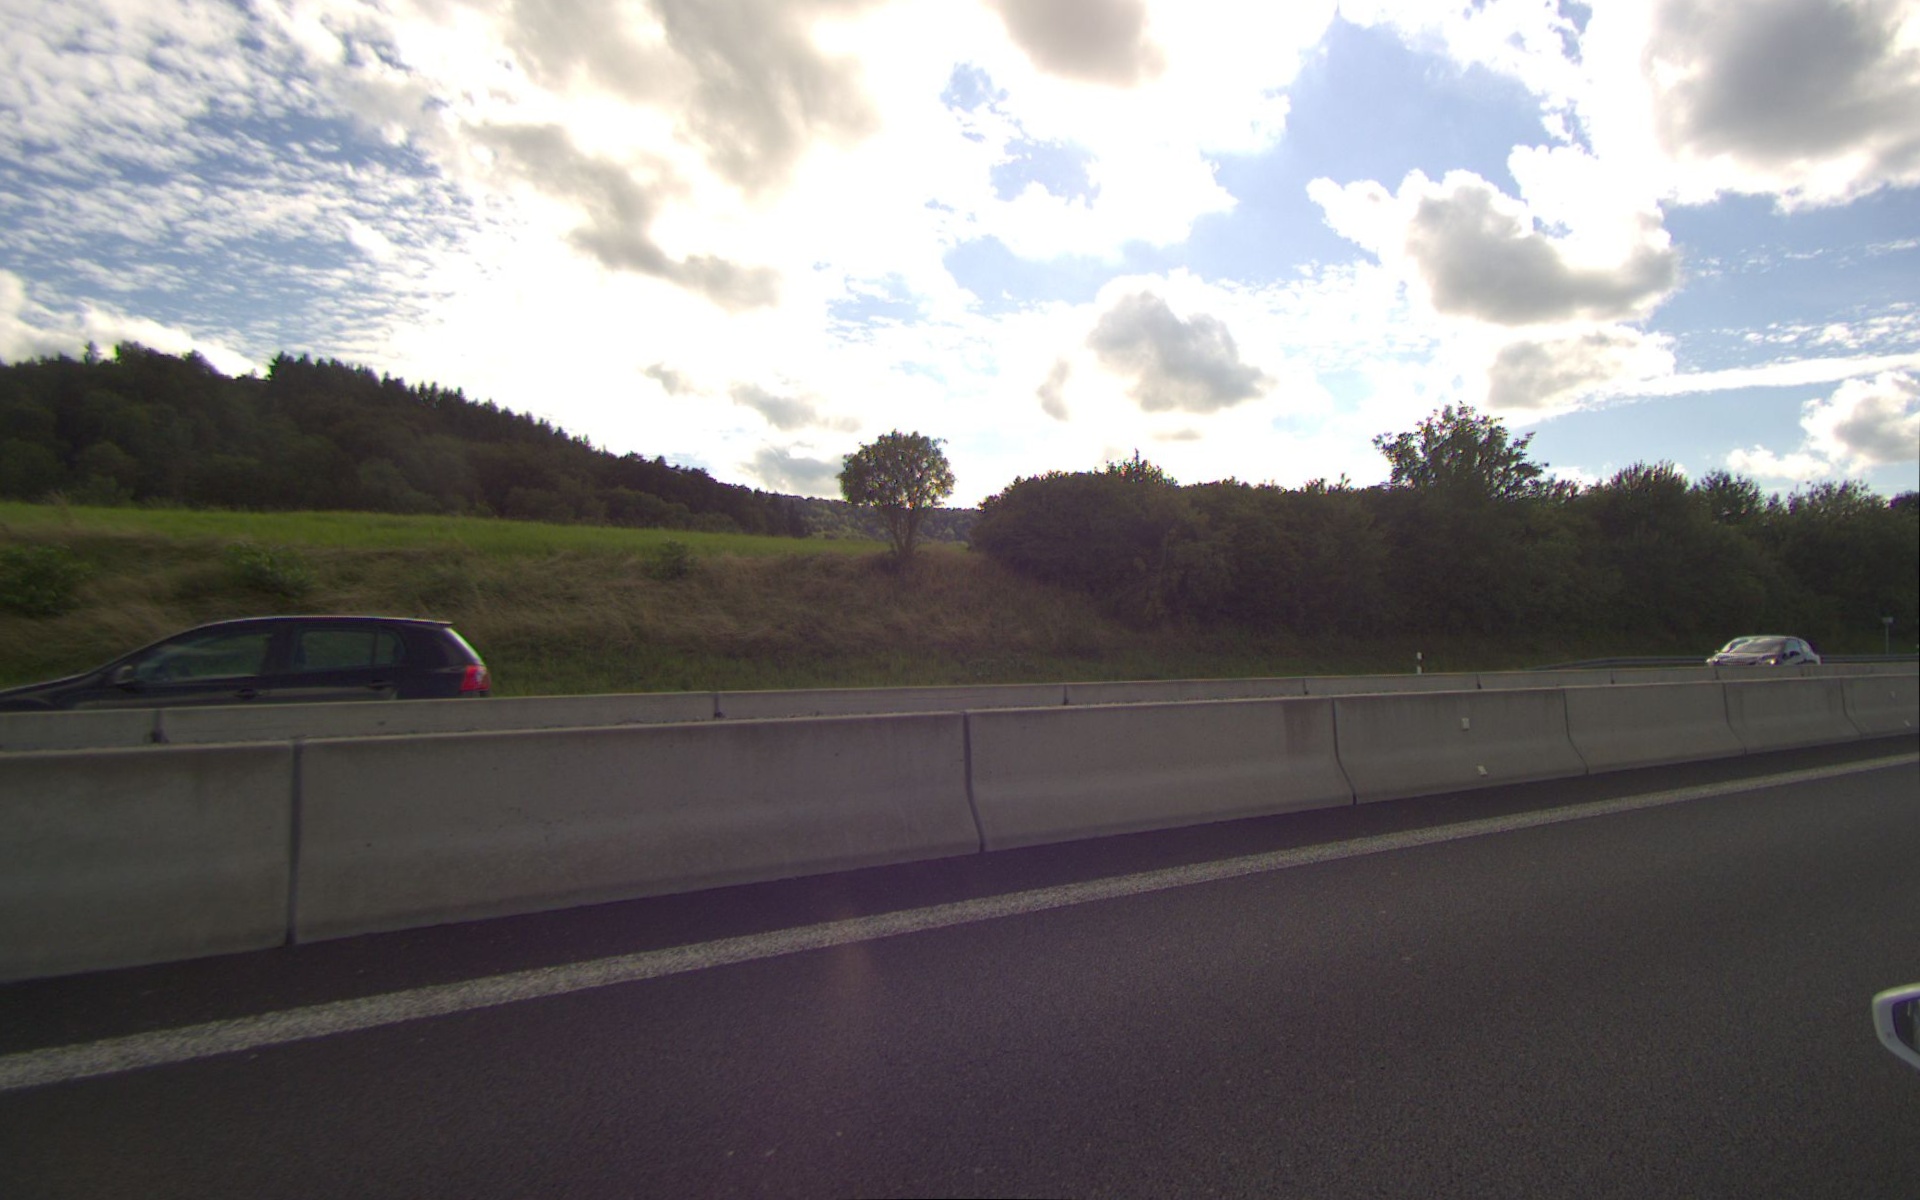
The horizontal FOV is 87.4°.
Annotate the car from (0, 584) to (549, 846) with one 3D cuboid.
[{"bbox_3d":[-5.990,0.880,8.632,4.345,1.856,1.799,2,-3,-30],"label":"car"}]

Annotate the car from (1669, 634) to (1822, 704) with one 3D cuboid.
[{"bbox_3d":[21.235,1.817,27.129,3.954,1.739,1.984,2,-3,-31],"label":"car"}]
